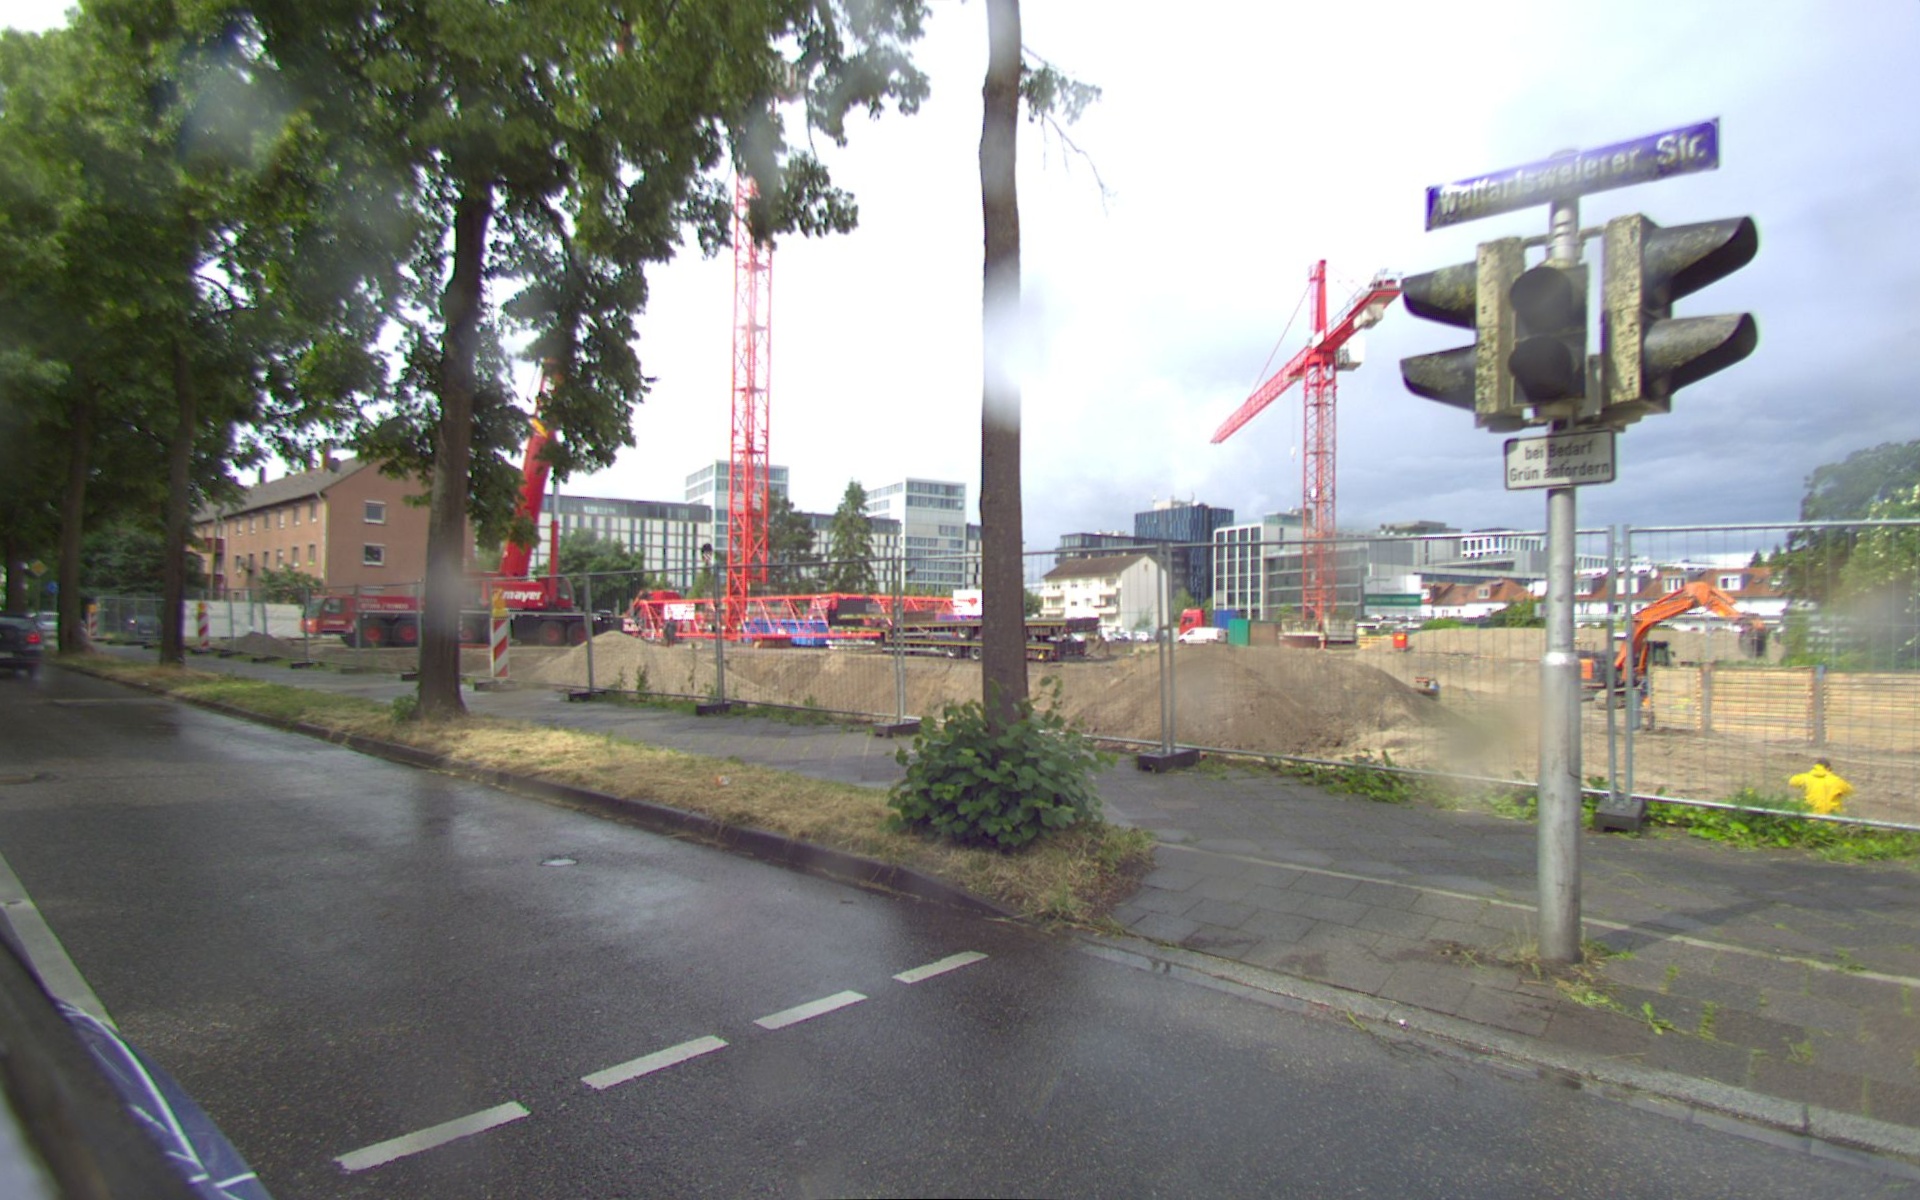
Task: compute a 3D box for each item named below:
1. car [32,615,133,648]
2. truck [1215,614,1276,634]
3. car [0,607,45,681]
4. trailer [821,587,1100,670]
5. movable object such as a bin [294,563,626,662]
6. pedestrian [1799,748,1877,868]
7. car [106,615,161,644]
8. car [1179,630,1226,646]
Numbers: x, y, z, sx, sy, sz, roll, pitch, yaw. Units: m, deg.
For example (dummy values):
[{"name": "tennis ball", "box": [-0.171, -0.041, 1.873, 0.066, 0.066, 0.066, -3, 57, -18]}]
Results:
[{"name": "car", "box": [-45.392, 1.613, 52.388, 1.698, 1.564, 3.816, 0, 0, 44]}, {"name": "truck", "box": [31.229, 2.637, 110.699, 6.291, 2.095, 1.884, 0, 0, 25]}, {"name": "car", "box": [-21.702, 1.012, 22.327, 3.980, 1.552, 1.794, -4, -4, 42]}, {"name": "trailer", "box": [-0.459, 1.111, 46.273, 14.301, 3.257, 2.930, 0, 2, 41]}, {"name": "movable object such as a bin", "box": [-25.802, 0.572, 53.740, 3.102, 4.592, 15.728, 0, 0, 44]}, {"name": "pedestrian", "box": [13.669, 3.202, 15.762, 0.580, 1.698, 0.849, 6, -5, -44]}, {"name": "car", "box": [-47.270, 1.657, 57.847, 3.996, 1.541, 1.672, 0, 0, 39]}, {"name": "car", "box": [25.642, 3.990, 107.151, 4.582, 1.529, 1.797, 0, 0, 44]}]
